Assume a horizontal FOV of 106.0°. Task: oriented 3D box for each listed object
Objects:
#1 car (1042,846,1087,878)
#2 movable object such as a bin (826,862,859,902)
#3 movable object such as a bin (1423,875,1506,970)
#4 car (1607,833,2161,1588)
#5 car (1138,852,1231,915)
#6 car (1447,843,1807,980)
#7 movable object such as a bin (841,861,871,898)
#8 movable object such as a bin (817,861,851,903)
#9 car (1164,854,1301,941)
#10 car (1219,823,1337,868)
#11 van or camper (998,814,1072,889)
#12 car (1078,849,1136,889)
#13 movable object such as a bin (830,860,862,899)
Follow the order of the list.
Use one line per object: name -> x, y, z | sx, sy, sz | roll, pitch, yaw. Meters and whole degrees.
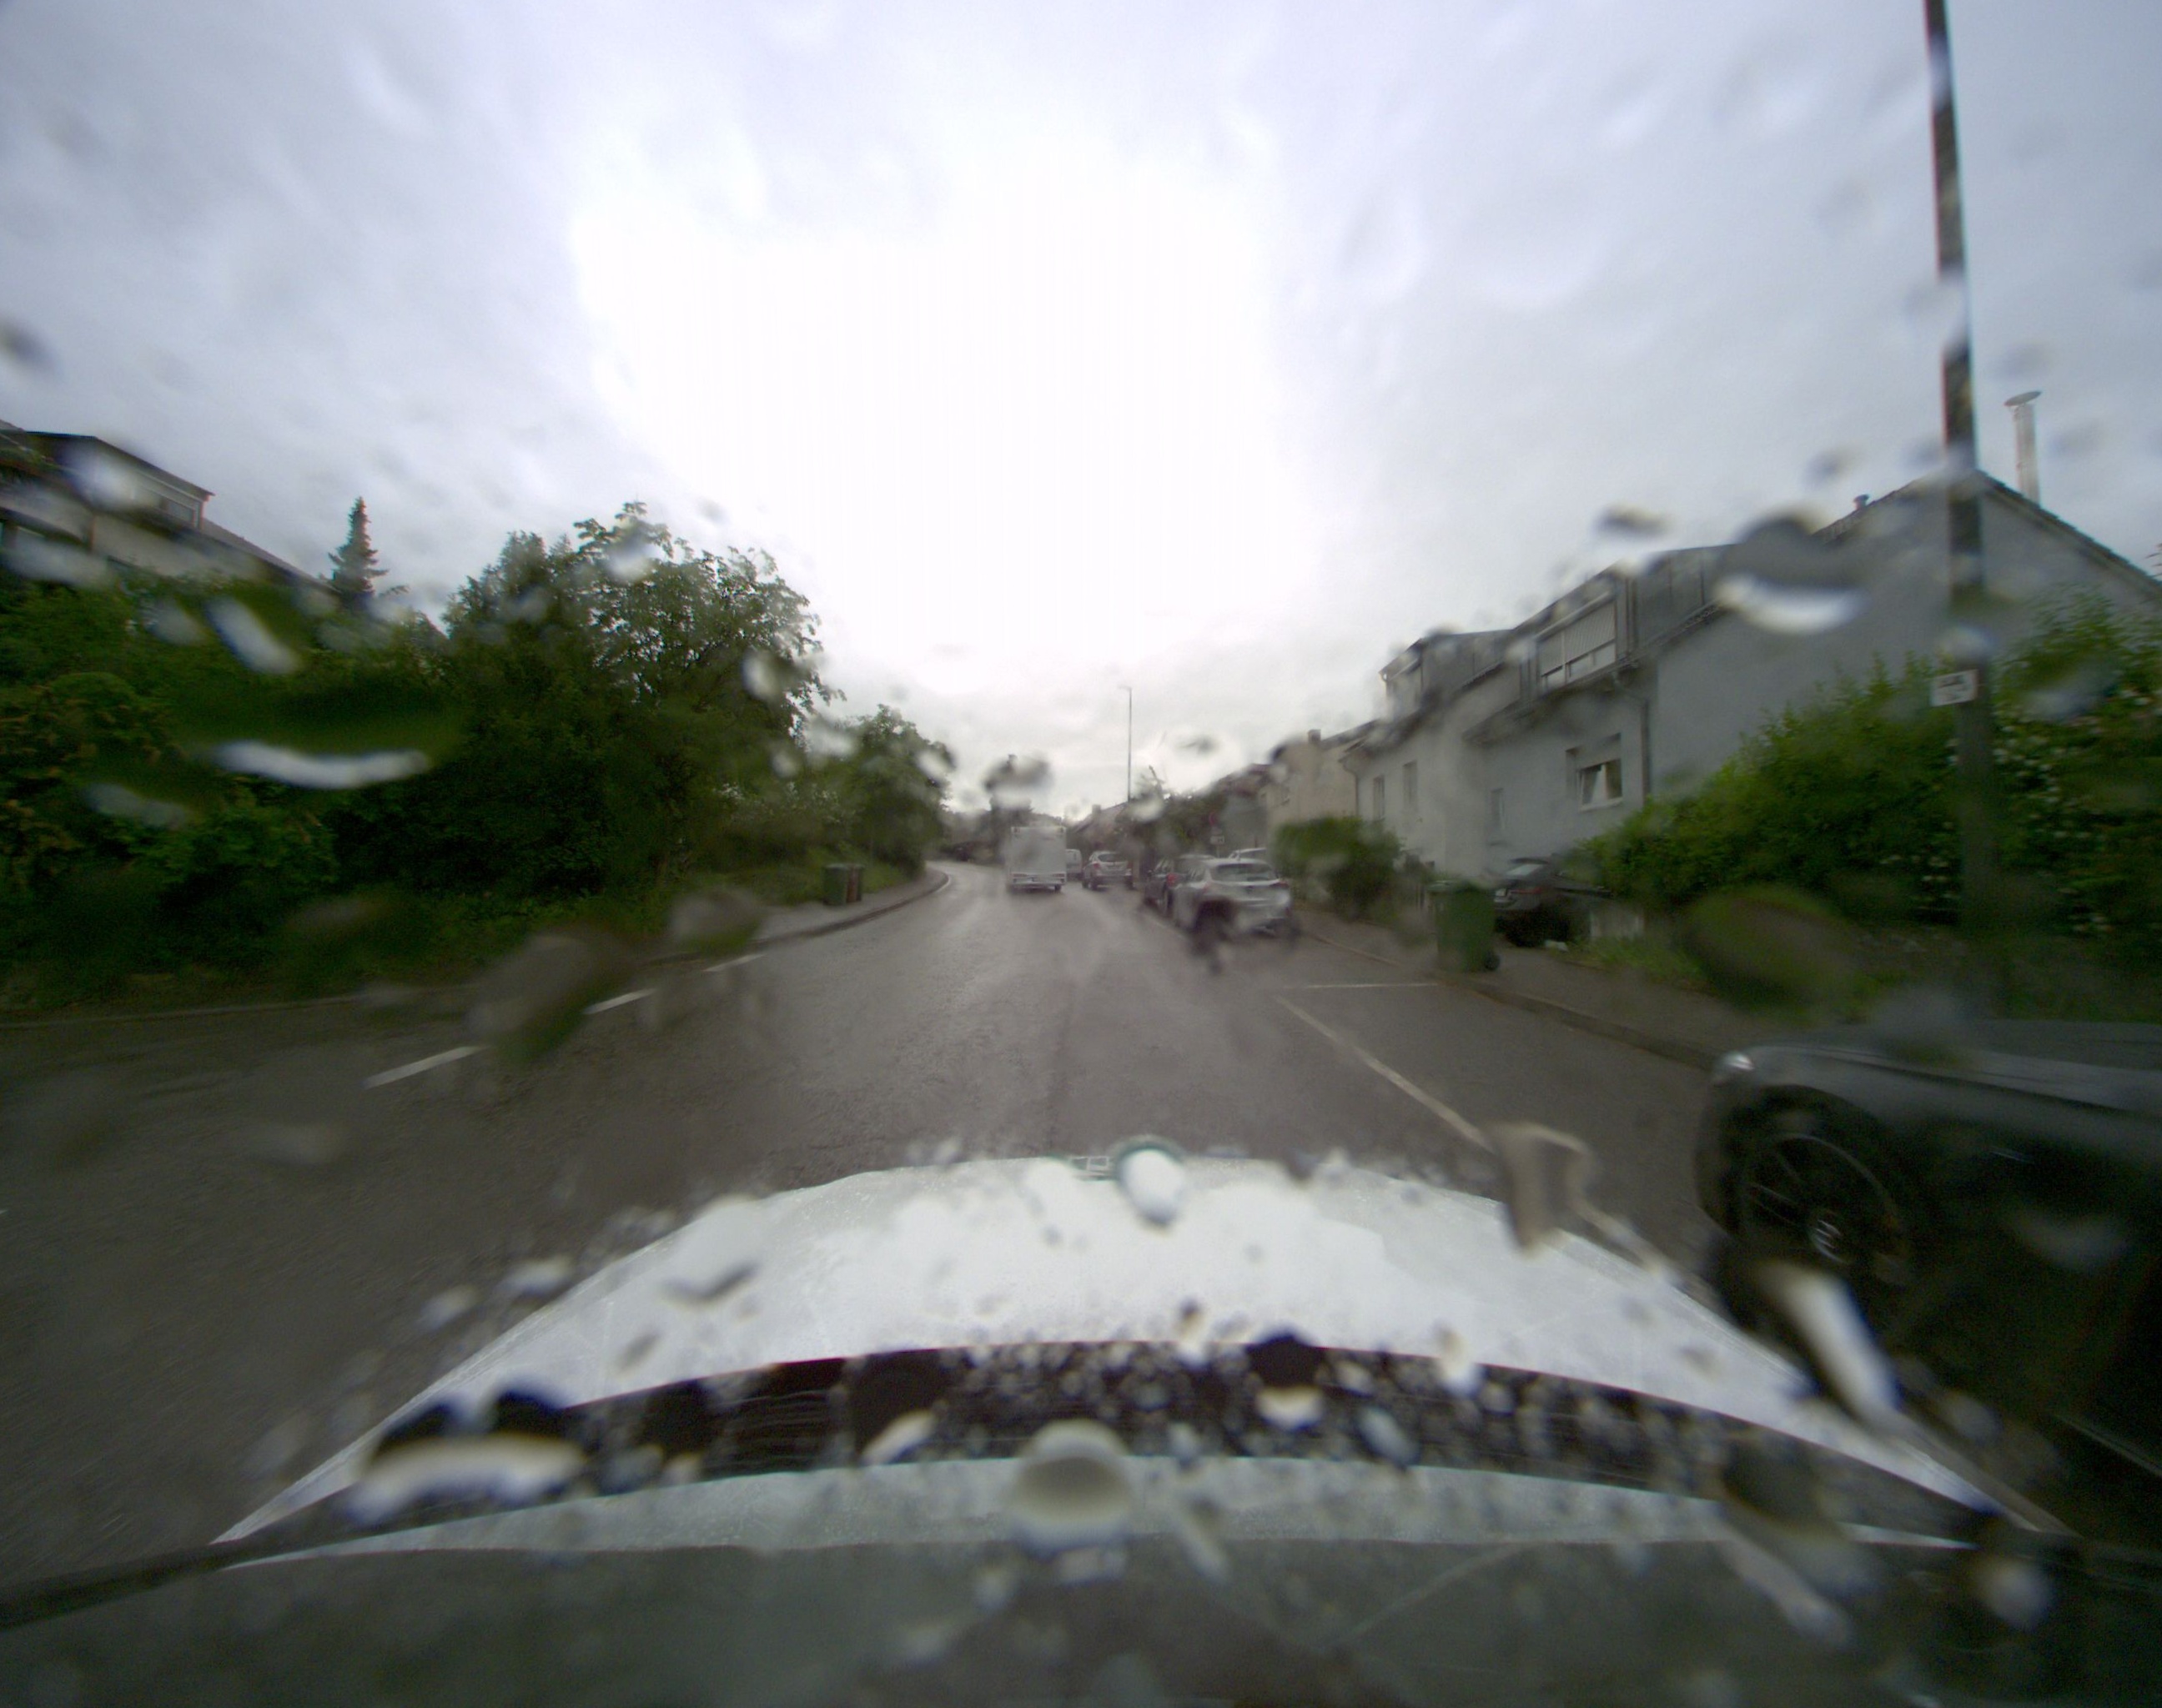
car -> -1.070, 0.471, 48.948 | 1.781, 1.803, 4.686 | 0, 0, -13
movable object such as a bin -> -6.621, 0.771, 22.634 | 0.768, 1.096, 0.736 | 0, 0, -9
movable object such as a bin -> 4.554, 0.798, 9.705 | 0.674, 1.068, 0.645 | 0, 0, -1
car -> 3.111, 0.720, 0.879 | 1.851, 1.527, 5.064 | -2, 0, 1
car -> 2.633, 0.696, 21.554 | 1.656, 1.467, 3.757 | -2, 0, -5
car -> 7.950, 0.803, 12.148 | 3.977, 1.442, 1.998 | 7, -1, -2
movable object such as a bin -> -6.647, 0.739, 24.114 | 0.768, 1.068, 0.689 | 0, 0, -9
movable object such as a bin -> -6.610, 0.736, 21.858 | 0.768, 1.096, 0.736 | 0, 0, -9
car -> 2.880, 0.755, 16.375 | 1.764, 1.467, 4.230 | -2, 0, -3
car -> 7.355, -0.302, 30.702 | 3.977, 1.590, 1.933 | 1, -1, -2
van or camper -> -2.110, -0.081, 35.072 | 2.540, 2.925, 5.928 | 0, 0, -10
car -> 1.067, 0.626, 35.999 | 1.803, 1.626, 4.275 | -2, 0, -8
movable object such as a bin -> -6.737, 0.722, 23.371 | 0.768, 1.096, 0.669 | 0, 0, -9
